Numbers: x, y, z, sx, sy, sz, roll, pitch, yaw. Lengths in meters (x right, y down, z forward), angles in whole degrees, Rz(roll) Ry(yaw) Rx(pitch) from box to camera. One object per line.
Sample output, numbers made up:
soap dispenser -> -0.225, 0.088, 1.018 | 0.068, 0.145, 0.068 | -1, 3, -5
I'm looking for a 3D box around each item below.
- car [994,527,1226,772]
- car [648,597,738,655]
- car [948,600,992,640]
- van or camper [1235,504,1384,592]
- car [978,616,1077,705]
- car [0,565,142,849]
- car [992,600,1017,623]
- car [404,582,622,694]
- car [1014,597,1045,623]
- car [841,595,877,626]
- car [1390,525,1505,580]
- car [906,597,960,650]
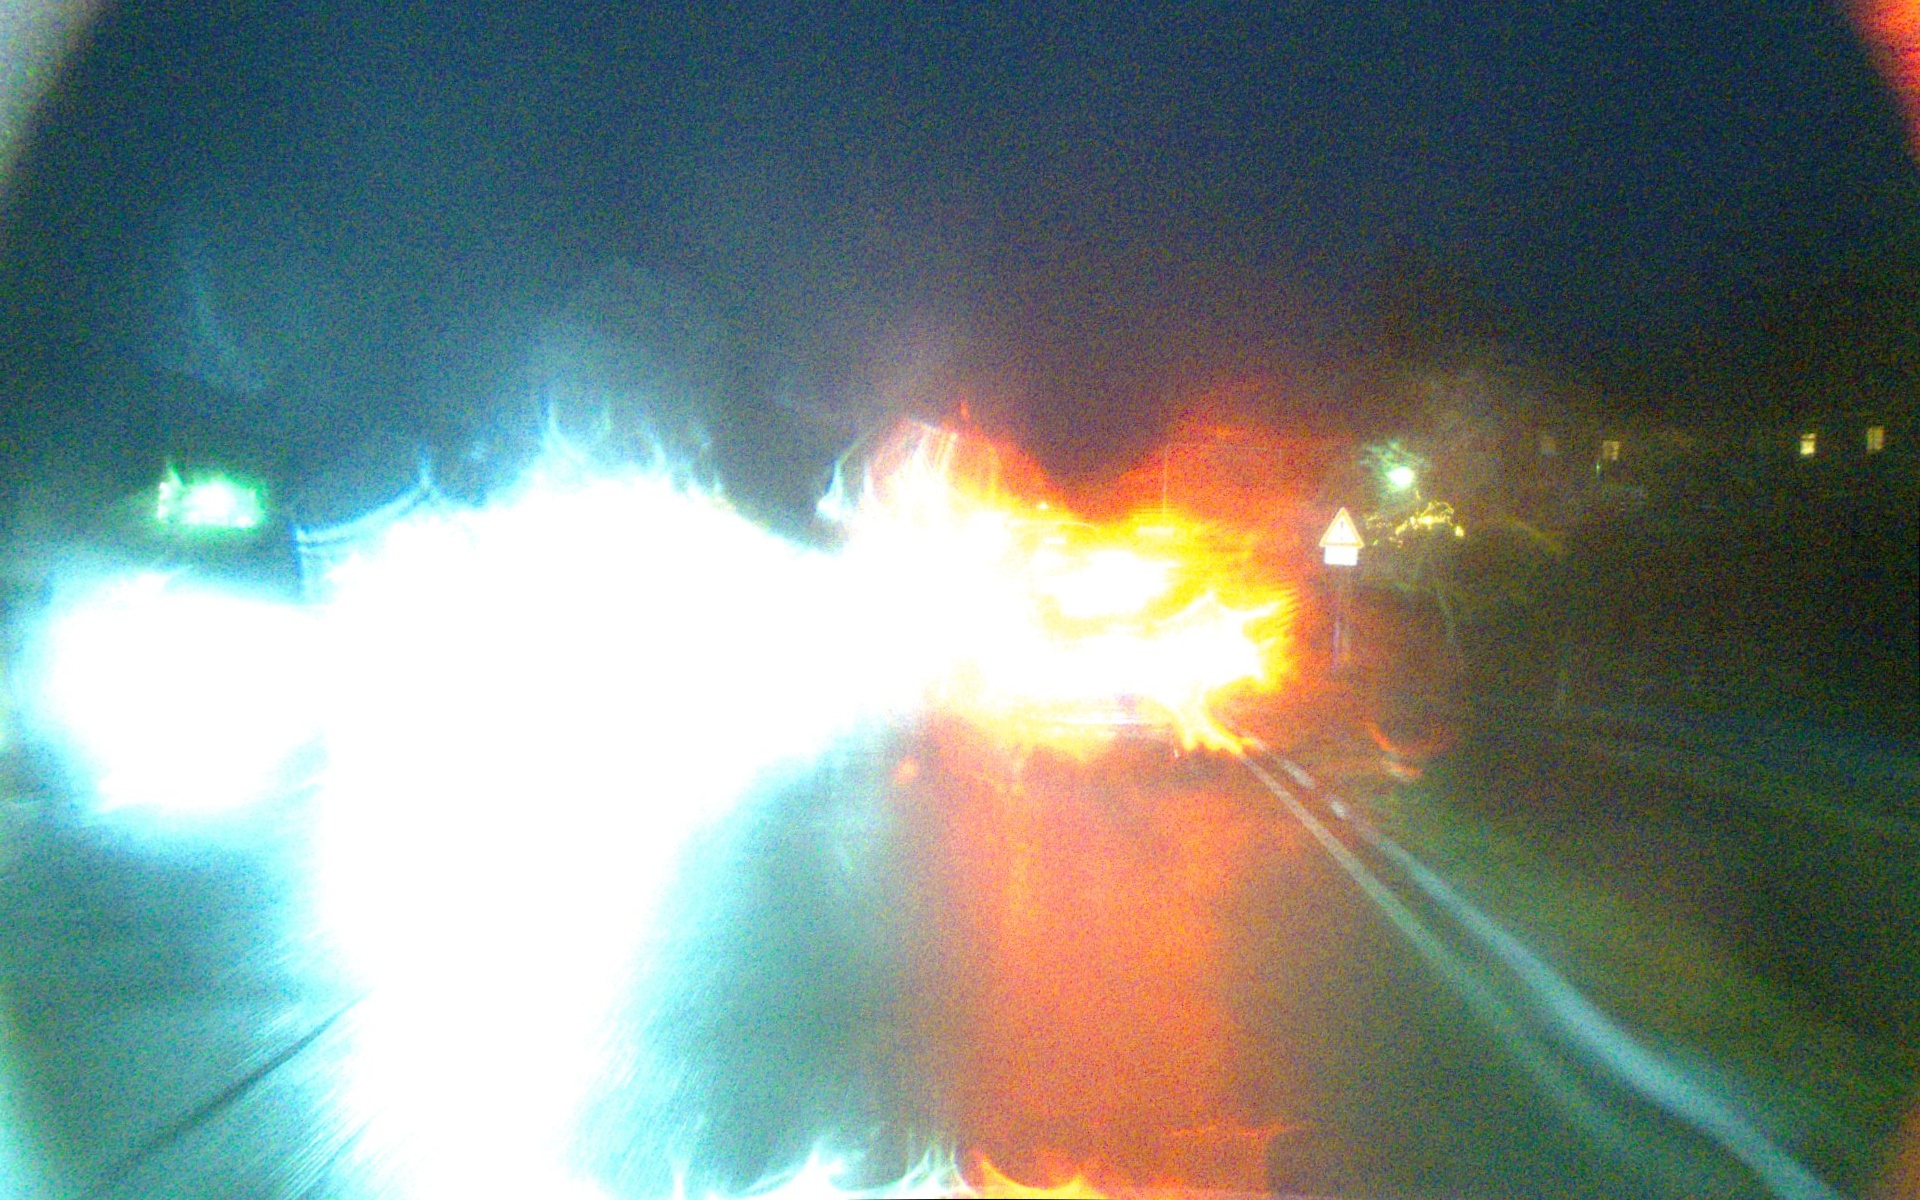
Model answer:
car -> 1.314, 0.401, 15.940 | 1.902, 2.006, 4.219 | 1, 0, 1
car -> -7.326, 0.686, 45.762 | 1.879, 1.469, 4.544 | 1, 0, -2
car -> 0.444, 0.831, 70.439 | 1.673, 1.666, 3.732 | 0, 0, 3
van or camper -> 12.436, -1.761, 59.383 | 2.539, 2.959, 6.330 | 0, 0, -16
car -> 1.336, 1.091, 31.437 | 1.731, 1.475, 4.220 | 1, 0, 4
car -> -6.193, 0.574, 8.697 | 1.840, 1.564, 3.987 | 1, 0, -1
car -> 3.015, 0.776, 111.397 | 1.628, 1.475, 4.051 | 1, -1, 2
car -> -6.563, 0.500, 24.907 | 2.035, 1.474, 4.990 | 1, 0, -2
car -> 4.114, 0.588, 97.259 | 1.628, 1.475, 4.052 | 0, -1, 5
car -> -5.092, 0.515, 83.688 | 1.660, 1.459, 4.291 | 2, 0, -3
car -> 15.497, -1.475, 52.827 | 1.609, 1.646, 4.118 | 1, 0, -15
car -> -0.882, 0.782, 55.929 | 1.659, 1.658, 3.853 | 2, 0, 1
